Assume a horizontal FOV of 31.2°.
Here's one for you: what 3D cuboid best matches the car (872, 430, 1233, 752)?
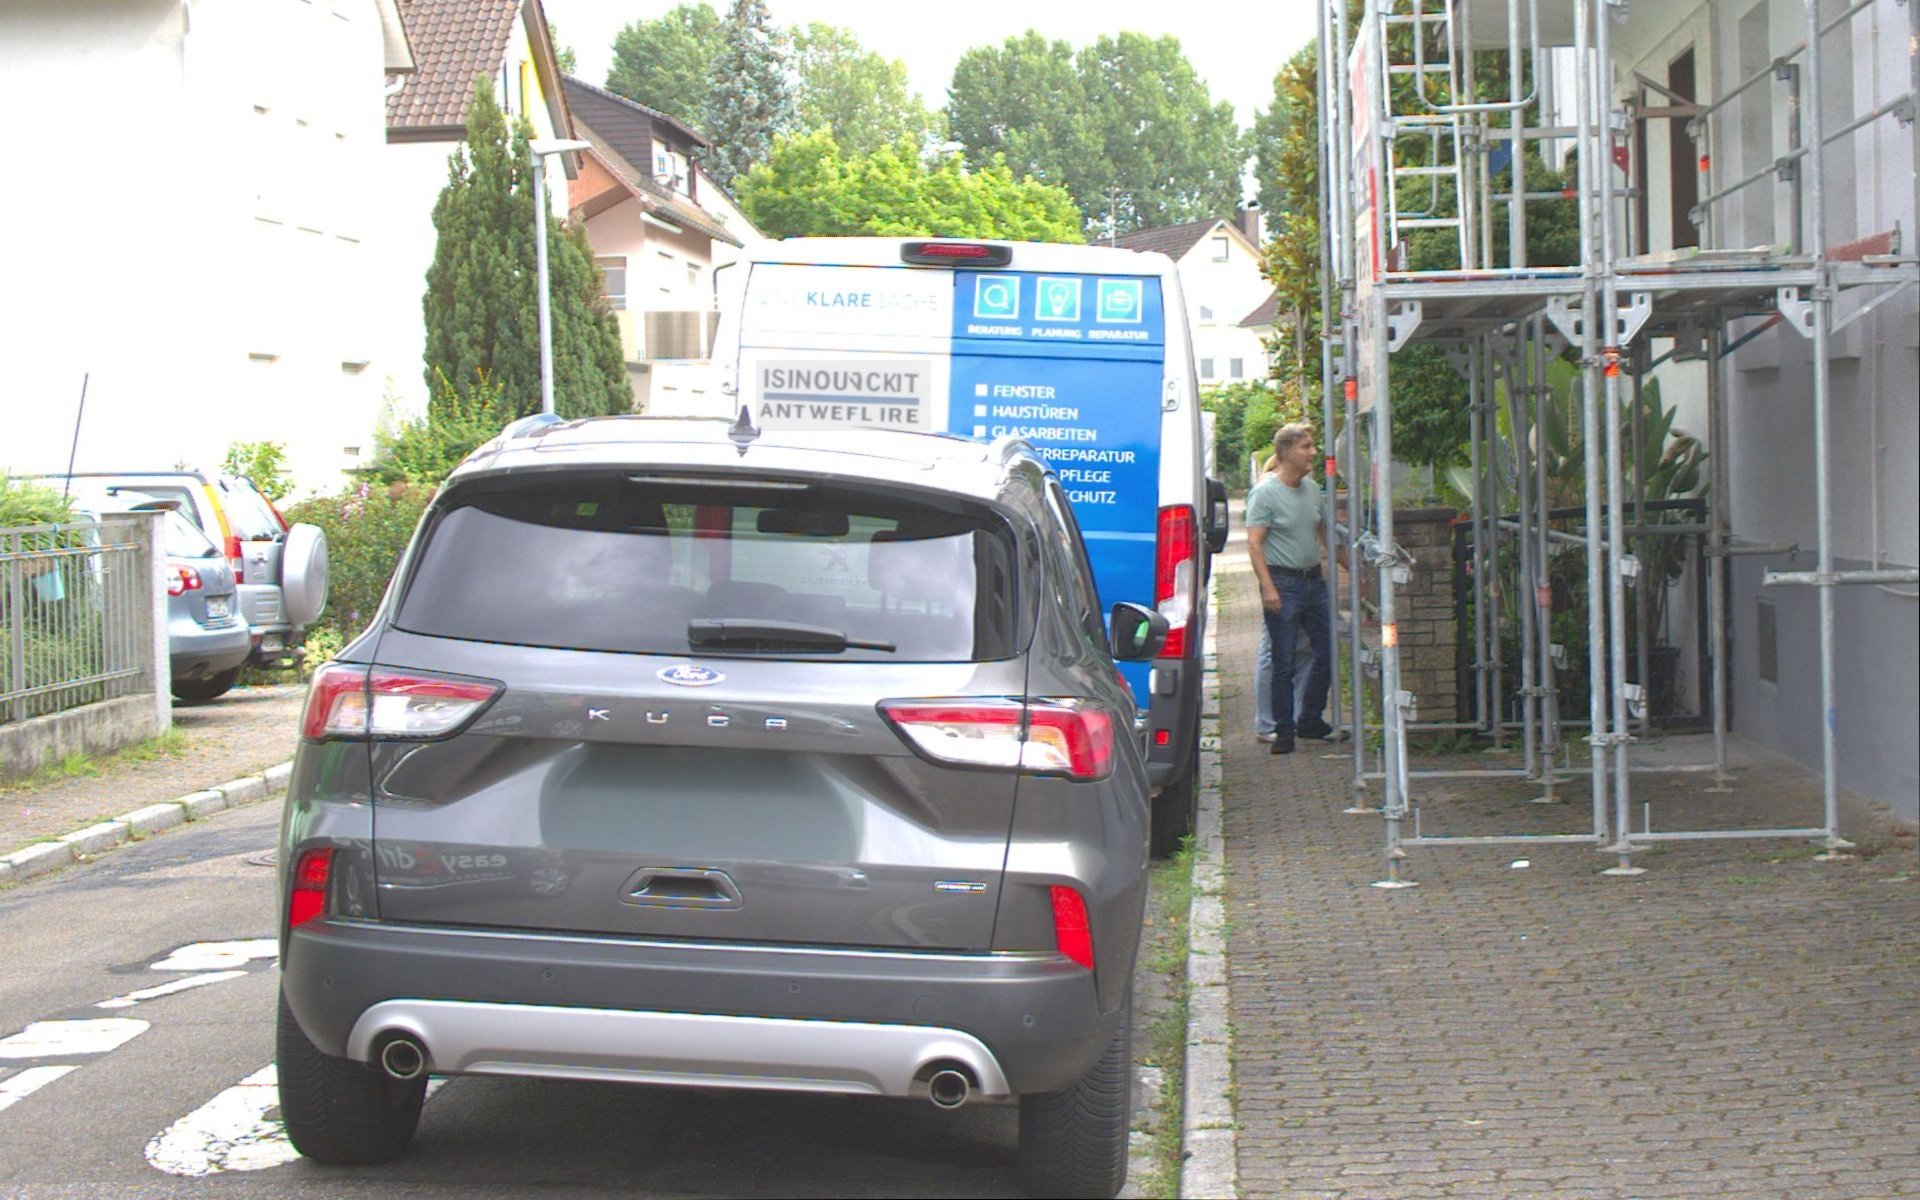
[{"bbox_3d":[0.592,-0.144,21.608,1.993,1.766,4.342,-2,2,2],"label":"car"}]

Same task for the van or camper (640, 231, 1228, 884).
[{"bbox_3d":[0.064,-0.264,15.716,2.192,2.450,5.054,-2,2,4],"label":"van or camper"}]

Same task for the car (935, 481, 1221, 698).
[{"bbox_3d":[0.911,-0.147,26.663,1.993,1.450,4.342,-2,2,2],"label":"car"}]

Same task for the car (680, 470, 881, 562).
[{"bbox_3d":[-3.706,-1.735,71.533,3.987,1.766,1.870,-2,1,1],"label":"car"}]

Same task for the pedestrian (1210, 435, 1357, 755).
[{"bbox_3d":[1.683,-0.031,17.934,0.623,1.623,0.603,-2,1,-5],"label":"pedestrian"}]

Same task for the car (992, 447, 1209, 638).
[{"bbox_3d":[1.396,-0.634,34.637,1.993,1.743,4.342,-2,2,2],"label":"car"}]

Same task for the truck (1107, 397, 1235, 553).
[{"bbox_3d":[3.761,-2.269,61.992,2.130,2.648,4.585,-2,2,2],"label":"truck"}]

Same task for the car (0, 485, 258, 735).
[{"bbox_3d":[-6.442,0.070,21.871,3.570,1.495,1.588,-2,2,1],"label":"car"}]

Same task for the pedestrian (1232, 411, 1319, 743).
[{"bbox_3d":[1.702,-0.127,18.572,0.407,1.756,0.513,-2,1,4],"label":"pedestrian"}]

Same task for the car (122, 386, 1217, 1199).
[{"bbox_3d":[-0.468,0.400,8.559,1.993,1.721,4.342,-2,2,2],"label":"car"}]

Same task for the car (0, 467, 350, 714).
[{"bbox_3d":[-6.365,-0.068,24.849,3.570,1.661,1.588,-2,2,1],"label":"car"}]
